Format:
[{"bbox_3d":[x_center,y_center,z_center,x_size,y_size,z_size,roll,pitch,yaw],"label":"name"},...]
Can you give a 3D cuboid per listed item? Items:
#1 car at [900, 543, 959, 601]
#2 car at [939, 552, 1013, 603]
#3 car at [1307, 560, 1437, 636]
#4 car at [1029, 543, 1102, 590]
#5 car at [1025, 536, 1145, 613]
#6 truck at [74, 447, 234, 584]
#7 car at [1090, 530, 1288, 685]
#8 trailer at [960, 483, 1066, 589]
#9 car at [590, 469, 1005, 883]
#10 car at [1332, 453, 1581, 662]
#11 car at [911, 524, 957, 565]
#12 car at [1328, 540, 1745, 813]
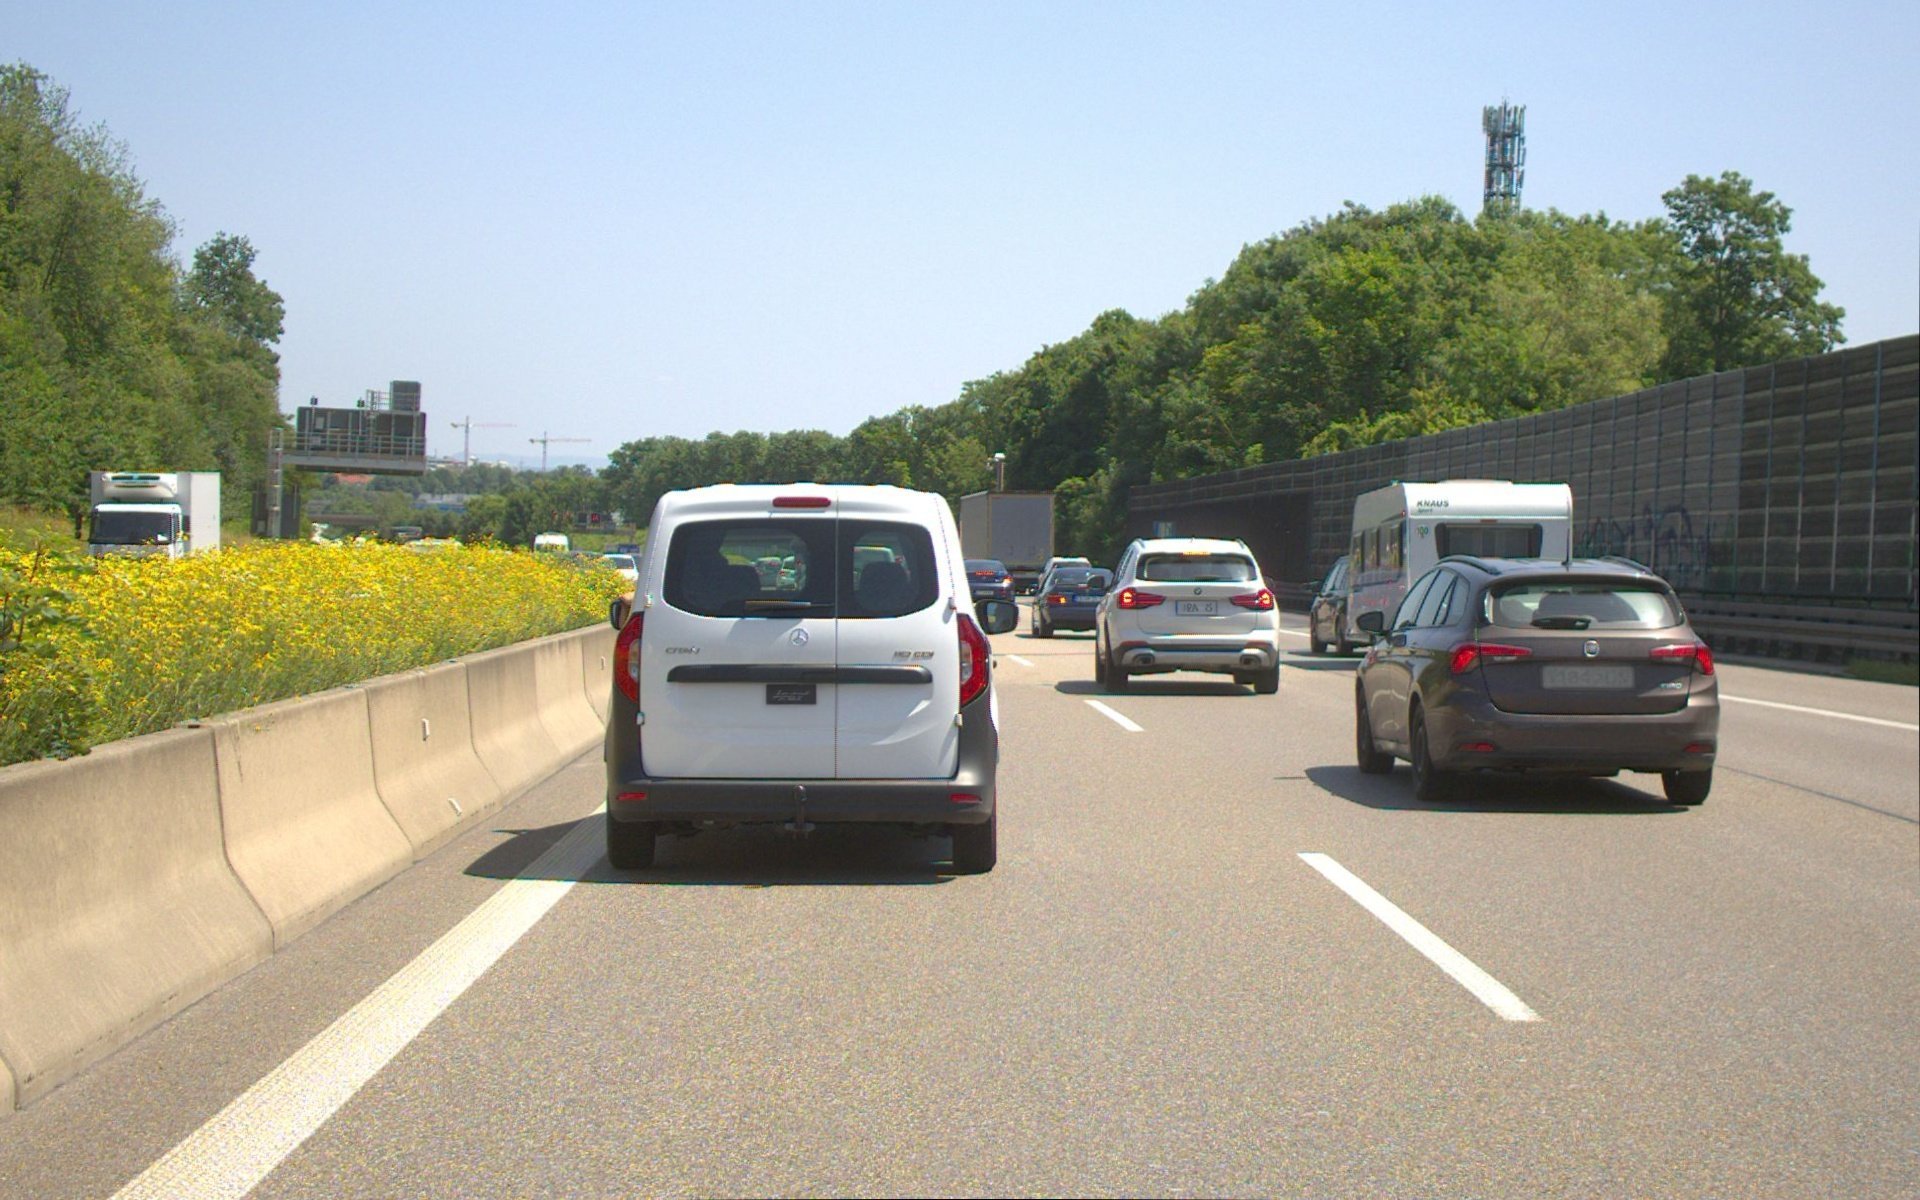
[{"bbox_3d":[-1.137,-1.041,125.841,1.824,1.982,4.001,2,1,-5],"label":"car"},{"bbox_3d":[0.437,-0.656,98.559,1.824,1.419,4.001,1,1,-4],"label":"car"},{"bbox_3d":[7.965,-0.059,66.794,1.824,1.419,4.001,1,1,-3],"label":"car"},{"bbox_3d":[3.352,-1.079,109.872,1.824,1.419,4.001,1,1,-5],"label":"car"},{"bbox_3d":[2.390,-0.504,66.538,1.824,1.419,4.001,1,1,-5],"label":"car"},{"bbox_3d":[-21.567,-2.240,92.361,2.735,3.463,7.315,1,1,-2],"label":"truck"},{"bbox_3d":[2.501,0.043,38.320,1.871,1.603,3.879,1,1,-1],"label":"car"},{"bbox_3d":[2.012,-2.501,135.731,3.081,3.972,10.325,1,1,-5],"label":"trailer"},{"bbox_3d":[-0.735,0.305,17.094,1.802,1.802,4.000,1,1,-1],"label":"car"},{"bbox_3d":[6.985,-0.604,49.132,2.478,2.756,6.220,1,1,-1],"label":"car"},{"bbox_3d":[-1.334,-2.789,172.678,1.993,2.007,4.001,1,1,-5],"label":"car"},{"bbox_3d":[3.539,0.402,21.901,1.838,1.508,4.402,1,1,-1],"label":"car"}]
